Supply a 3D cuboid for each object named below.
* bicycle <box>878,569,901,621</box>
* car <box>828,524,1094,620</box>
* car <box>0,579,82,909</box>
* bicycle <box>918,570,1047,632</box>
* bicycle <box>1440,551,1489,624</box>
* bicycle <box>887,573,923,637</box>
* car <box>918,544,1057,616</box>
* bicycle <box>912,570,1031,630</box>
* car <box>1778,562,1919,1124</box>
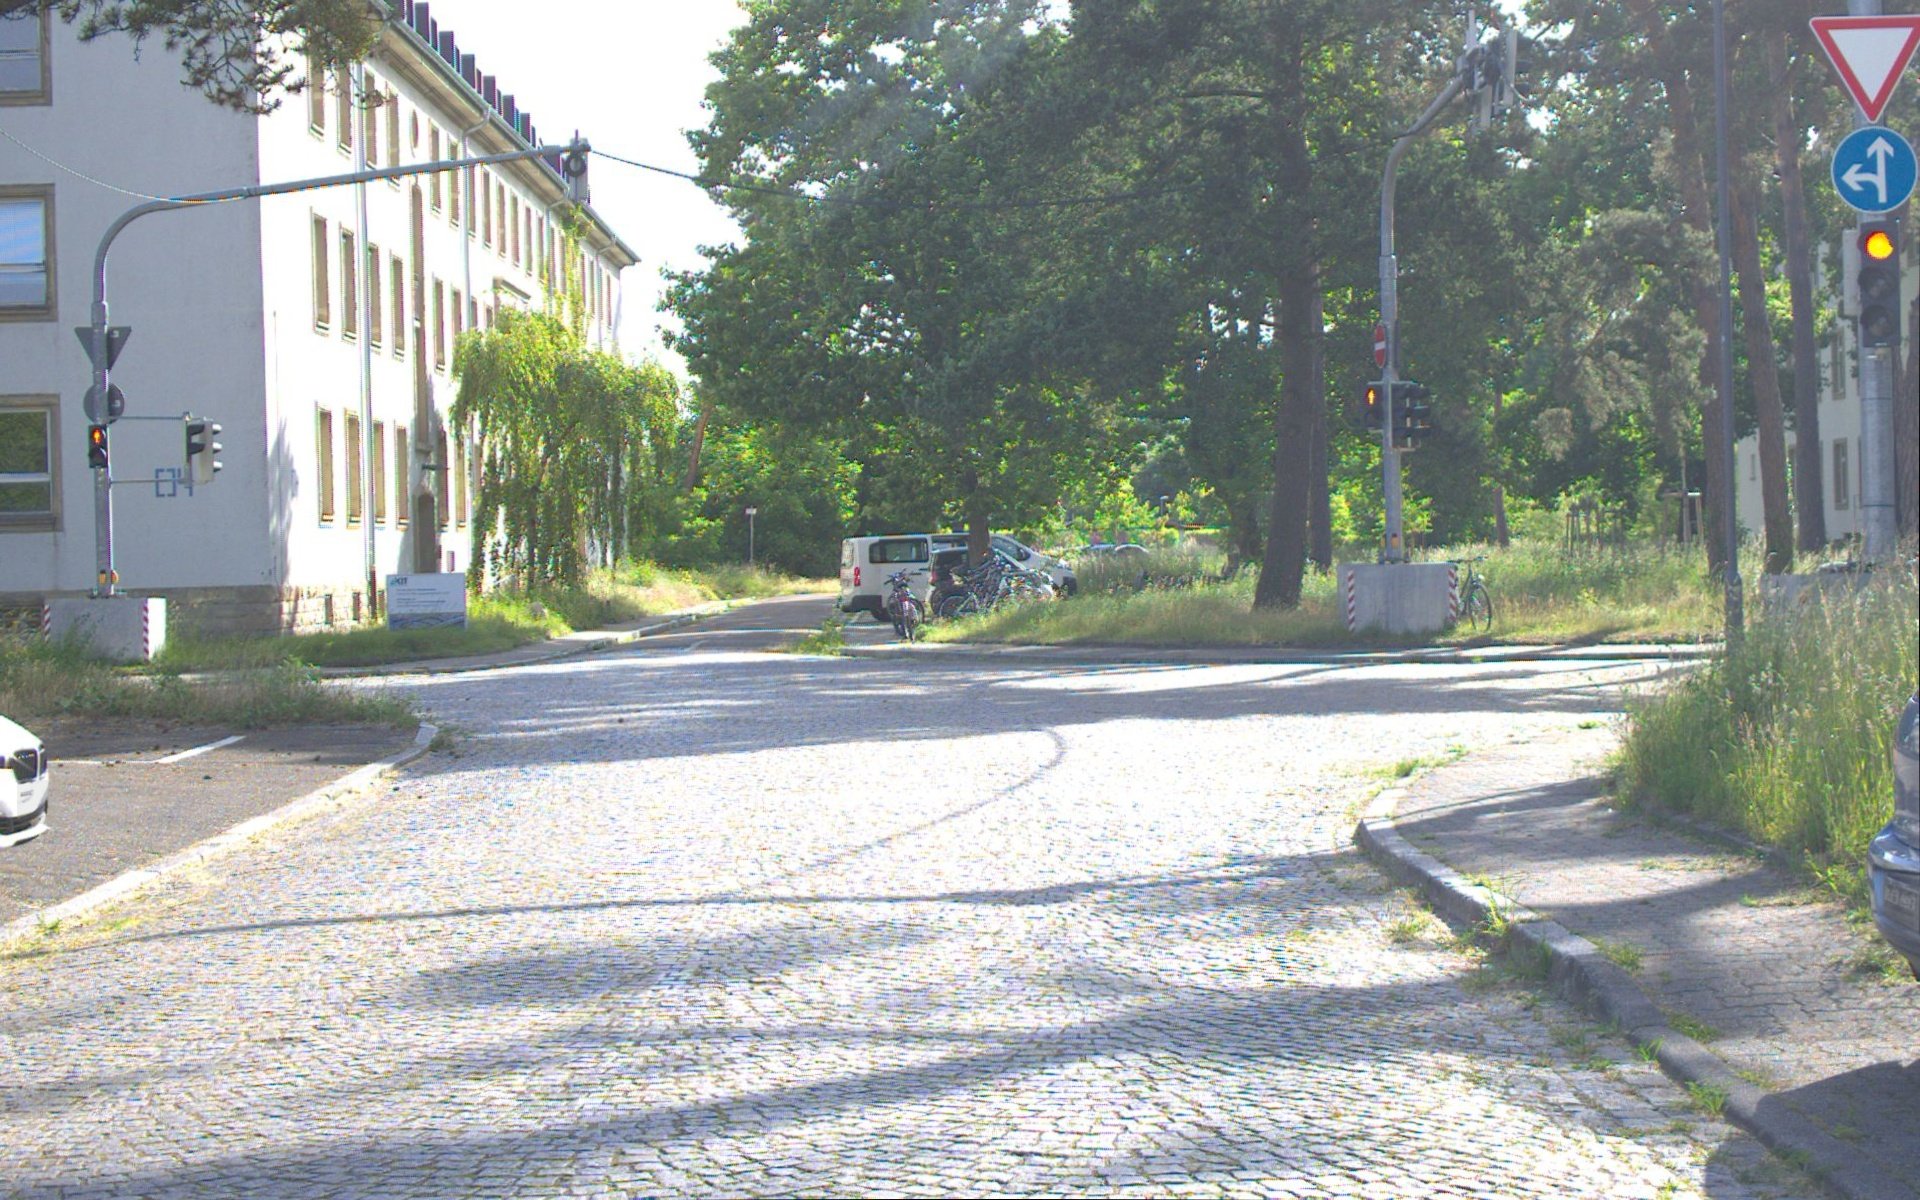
[{"bbox_3d":[-1.388,-0.108,67.872,0.417,1.007,1.483,1,0,0],"label":"bicycle"},{"bbox_3d":[0.027,-0.612,76.181,5.520,2.007,2.001,1,0,-18],"label":"car"},{"bbox_3d":[-6.577,0.620,16.430,4.333,1.463,1.831,1,1,-3],"label":"car"},{"bbox_3d":[0.382,0.016,58.218,2.109,1.007,0.621,1,0,-8],"label":"bicycle"},{"bbox_3d":[6.757,-0.171,46.115,0.300,0.957,1.586,1,0,-4],"label":"bicycle"},{"bbox_3d":[-0.879,0.072,54.592,0.467,1.007,1.586,1,0,-4],"label":"bicycle"},{"bbox_3d":[0.568,-0.417,72.690,2.781,1.462,1.671,1,0,-5],"label":"car"},{"bbox_3d":[0.199,0.003,59.931,2.004,1.007,0.632,1,0,-8],"label":"bicycle"},{"bbox_3d":[4.380,0.541,9.316,3.882,1.410,1.637,-3,1,0],"label":"car"}]
